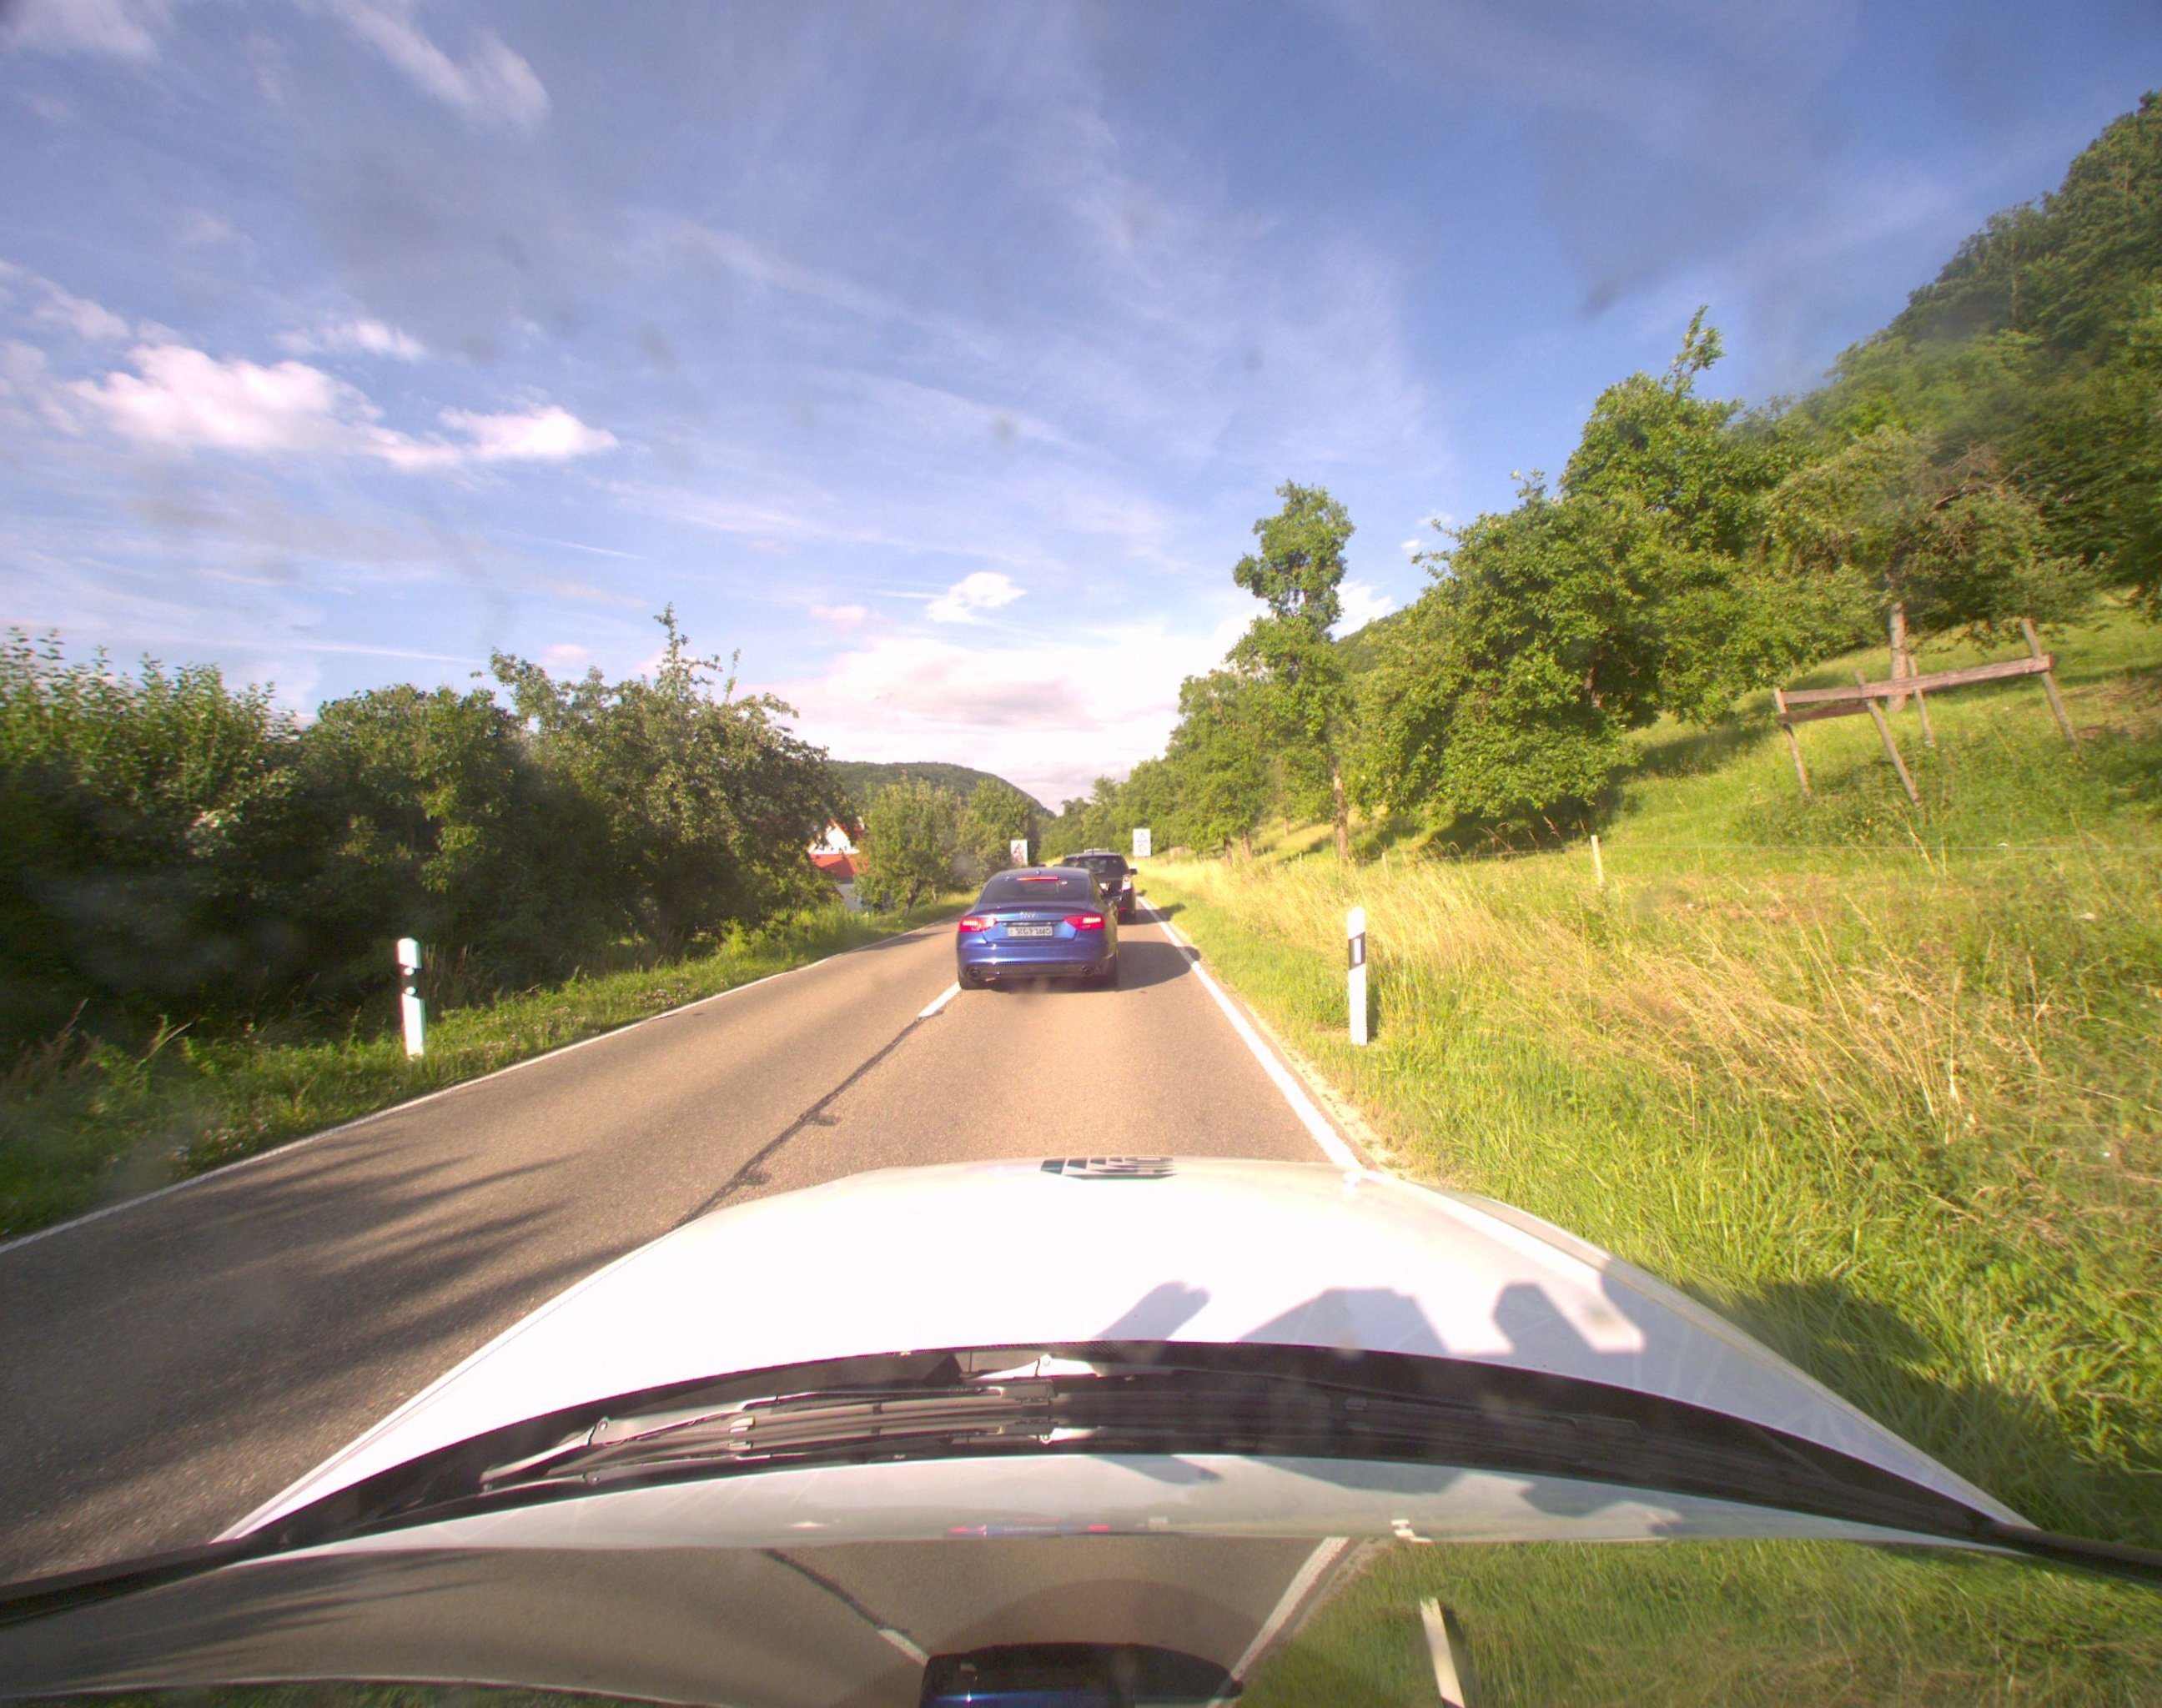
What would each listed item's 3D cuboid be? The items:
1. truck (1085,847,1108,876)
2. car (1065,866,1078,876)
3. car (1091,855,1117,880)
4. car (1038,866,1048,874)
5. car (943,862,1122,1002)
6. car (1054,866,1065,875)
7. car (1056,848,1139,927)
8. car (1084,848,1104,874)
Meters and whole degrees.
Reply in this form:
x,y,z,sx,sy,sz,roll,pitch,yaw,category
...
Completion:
x,y,z,sx,sy,sz,roll,pitch,yaw,category
1.328,0.639,69.977,1.943,2.345,5.094,0,0,1,truck
-1.474,2.577,127.506,1.746,1.496,3.770,0,0,-6,car
1.598,0.883,55.948,1.686,1.624,3.790,-1,0,1,car
-7.742,3.271,164.044,1.559,1.496,3.764,0,0,-11,car
-0.420,0.818,10.445,1.799,1.382,4.216,-2,0,2,car
-3.710,2.858,142.630,1.557,1.496,3.769,0,0,-7,car
0.394,0.695,18.870,1.686,1.624,3.790,-1,0,1,car
1.249,0.671,79.800,1.787,2.453,3.917,0,0,-1,car
